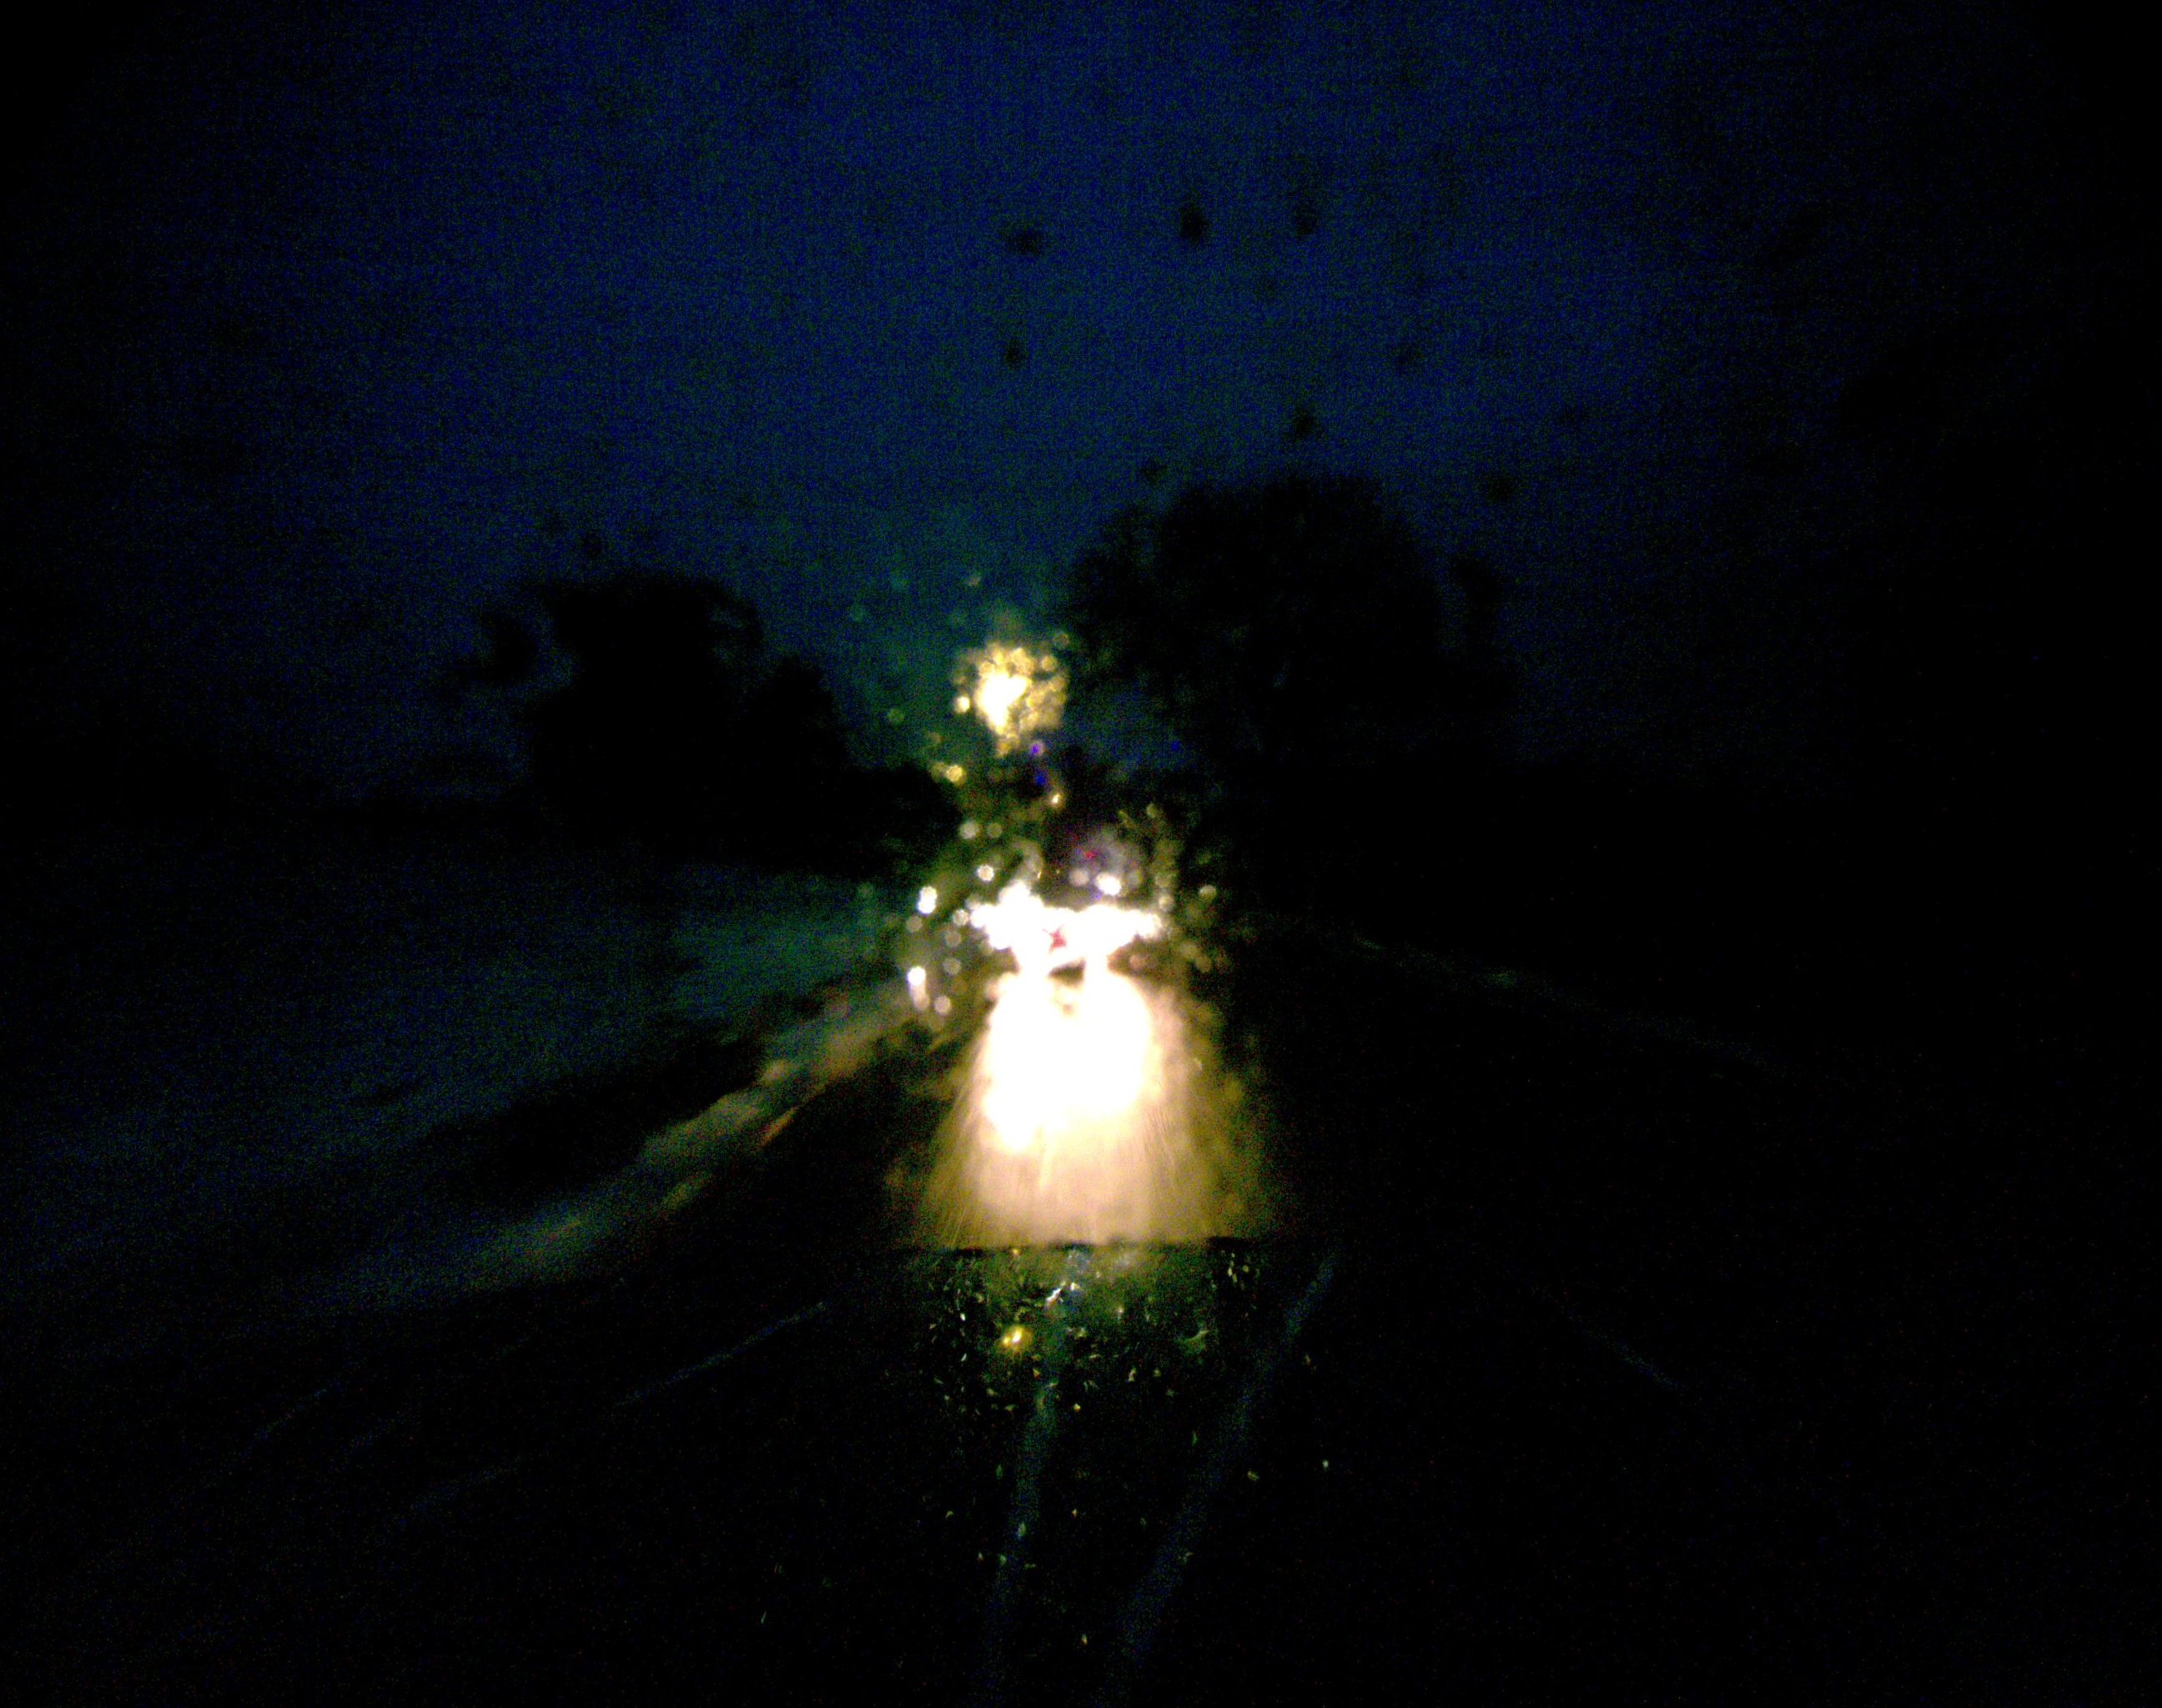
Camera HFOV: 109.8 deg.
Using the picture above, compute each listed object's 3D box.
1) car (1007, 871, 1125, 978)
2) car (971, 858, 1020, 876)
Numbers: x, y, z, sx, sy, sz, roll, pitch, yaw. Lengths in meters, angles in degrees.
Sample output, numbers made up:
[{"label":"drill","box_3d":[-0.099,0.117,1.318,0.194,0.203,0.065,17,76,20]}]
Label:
[{"label":"car","box_3d":[-0.275,1.064,12.873,1.650,1.446,3.680,-3,-1,-2]},{"label":"car","box_3d":[-8.338,1.288,74.541,4.403,1.647,1.864,1,-1,9]}]
